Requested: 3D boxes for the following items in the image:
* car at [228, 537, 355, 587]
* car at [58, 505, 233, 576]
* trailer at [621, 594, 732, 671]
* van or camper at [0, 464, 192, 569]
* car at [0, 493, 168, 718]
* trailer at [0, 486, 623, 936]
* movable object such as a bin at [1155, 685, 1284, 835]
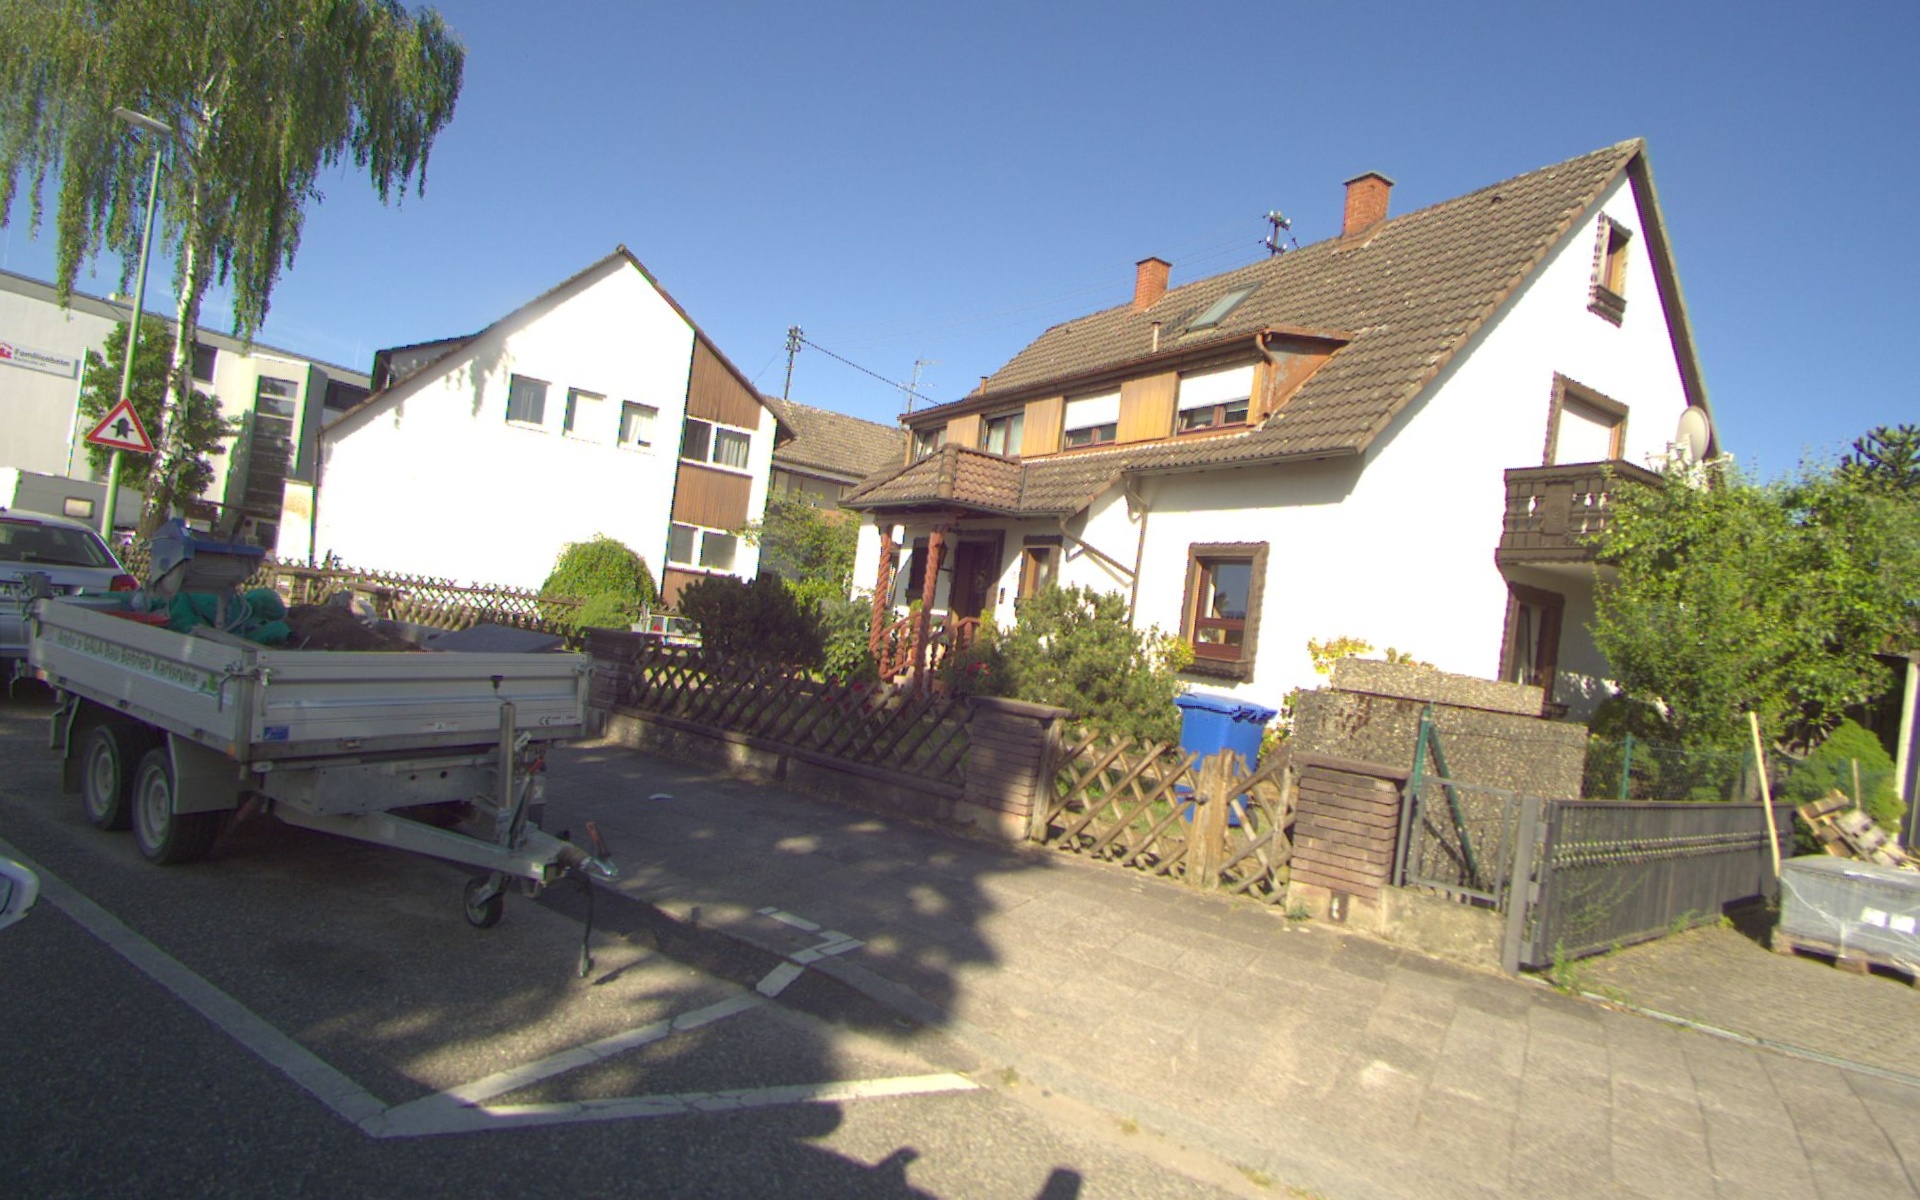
[{"bbox_3d":[-31.205,-1.759,47.112,1.771,1.637,4.518,7,-2,32],"label":"car"},{"bbox_3d":[-25.545,-1.810,31.749,1.776,1.637,4.004,7,-1,9],"label":"car"},{"bbox_3d":[-5.113,0.556,18.029,1.633,1.084,2.176,8,-1,-21],"label":"trailer"},{"bbox_3d":[-28.291,-2.614,32.153,2.246,2.571,5.838,7,-1,8],"label":"van or camper"},{"bbox_3d":[-8.322,-0.143,8.283,3.980,1.560,1.676,7,-2,36],"label":"car"},{"bbox_3d":[-3.539,0.393,5.262,3.146,1.556,1.629,7,-1,33],"label":"trailer"},{"bbox_3d":[2.094,1.281,8.165,0.520,1.066,0.746,7,0,-33],"label":"movable object such as a bin"}]
